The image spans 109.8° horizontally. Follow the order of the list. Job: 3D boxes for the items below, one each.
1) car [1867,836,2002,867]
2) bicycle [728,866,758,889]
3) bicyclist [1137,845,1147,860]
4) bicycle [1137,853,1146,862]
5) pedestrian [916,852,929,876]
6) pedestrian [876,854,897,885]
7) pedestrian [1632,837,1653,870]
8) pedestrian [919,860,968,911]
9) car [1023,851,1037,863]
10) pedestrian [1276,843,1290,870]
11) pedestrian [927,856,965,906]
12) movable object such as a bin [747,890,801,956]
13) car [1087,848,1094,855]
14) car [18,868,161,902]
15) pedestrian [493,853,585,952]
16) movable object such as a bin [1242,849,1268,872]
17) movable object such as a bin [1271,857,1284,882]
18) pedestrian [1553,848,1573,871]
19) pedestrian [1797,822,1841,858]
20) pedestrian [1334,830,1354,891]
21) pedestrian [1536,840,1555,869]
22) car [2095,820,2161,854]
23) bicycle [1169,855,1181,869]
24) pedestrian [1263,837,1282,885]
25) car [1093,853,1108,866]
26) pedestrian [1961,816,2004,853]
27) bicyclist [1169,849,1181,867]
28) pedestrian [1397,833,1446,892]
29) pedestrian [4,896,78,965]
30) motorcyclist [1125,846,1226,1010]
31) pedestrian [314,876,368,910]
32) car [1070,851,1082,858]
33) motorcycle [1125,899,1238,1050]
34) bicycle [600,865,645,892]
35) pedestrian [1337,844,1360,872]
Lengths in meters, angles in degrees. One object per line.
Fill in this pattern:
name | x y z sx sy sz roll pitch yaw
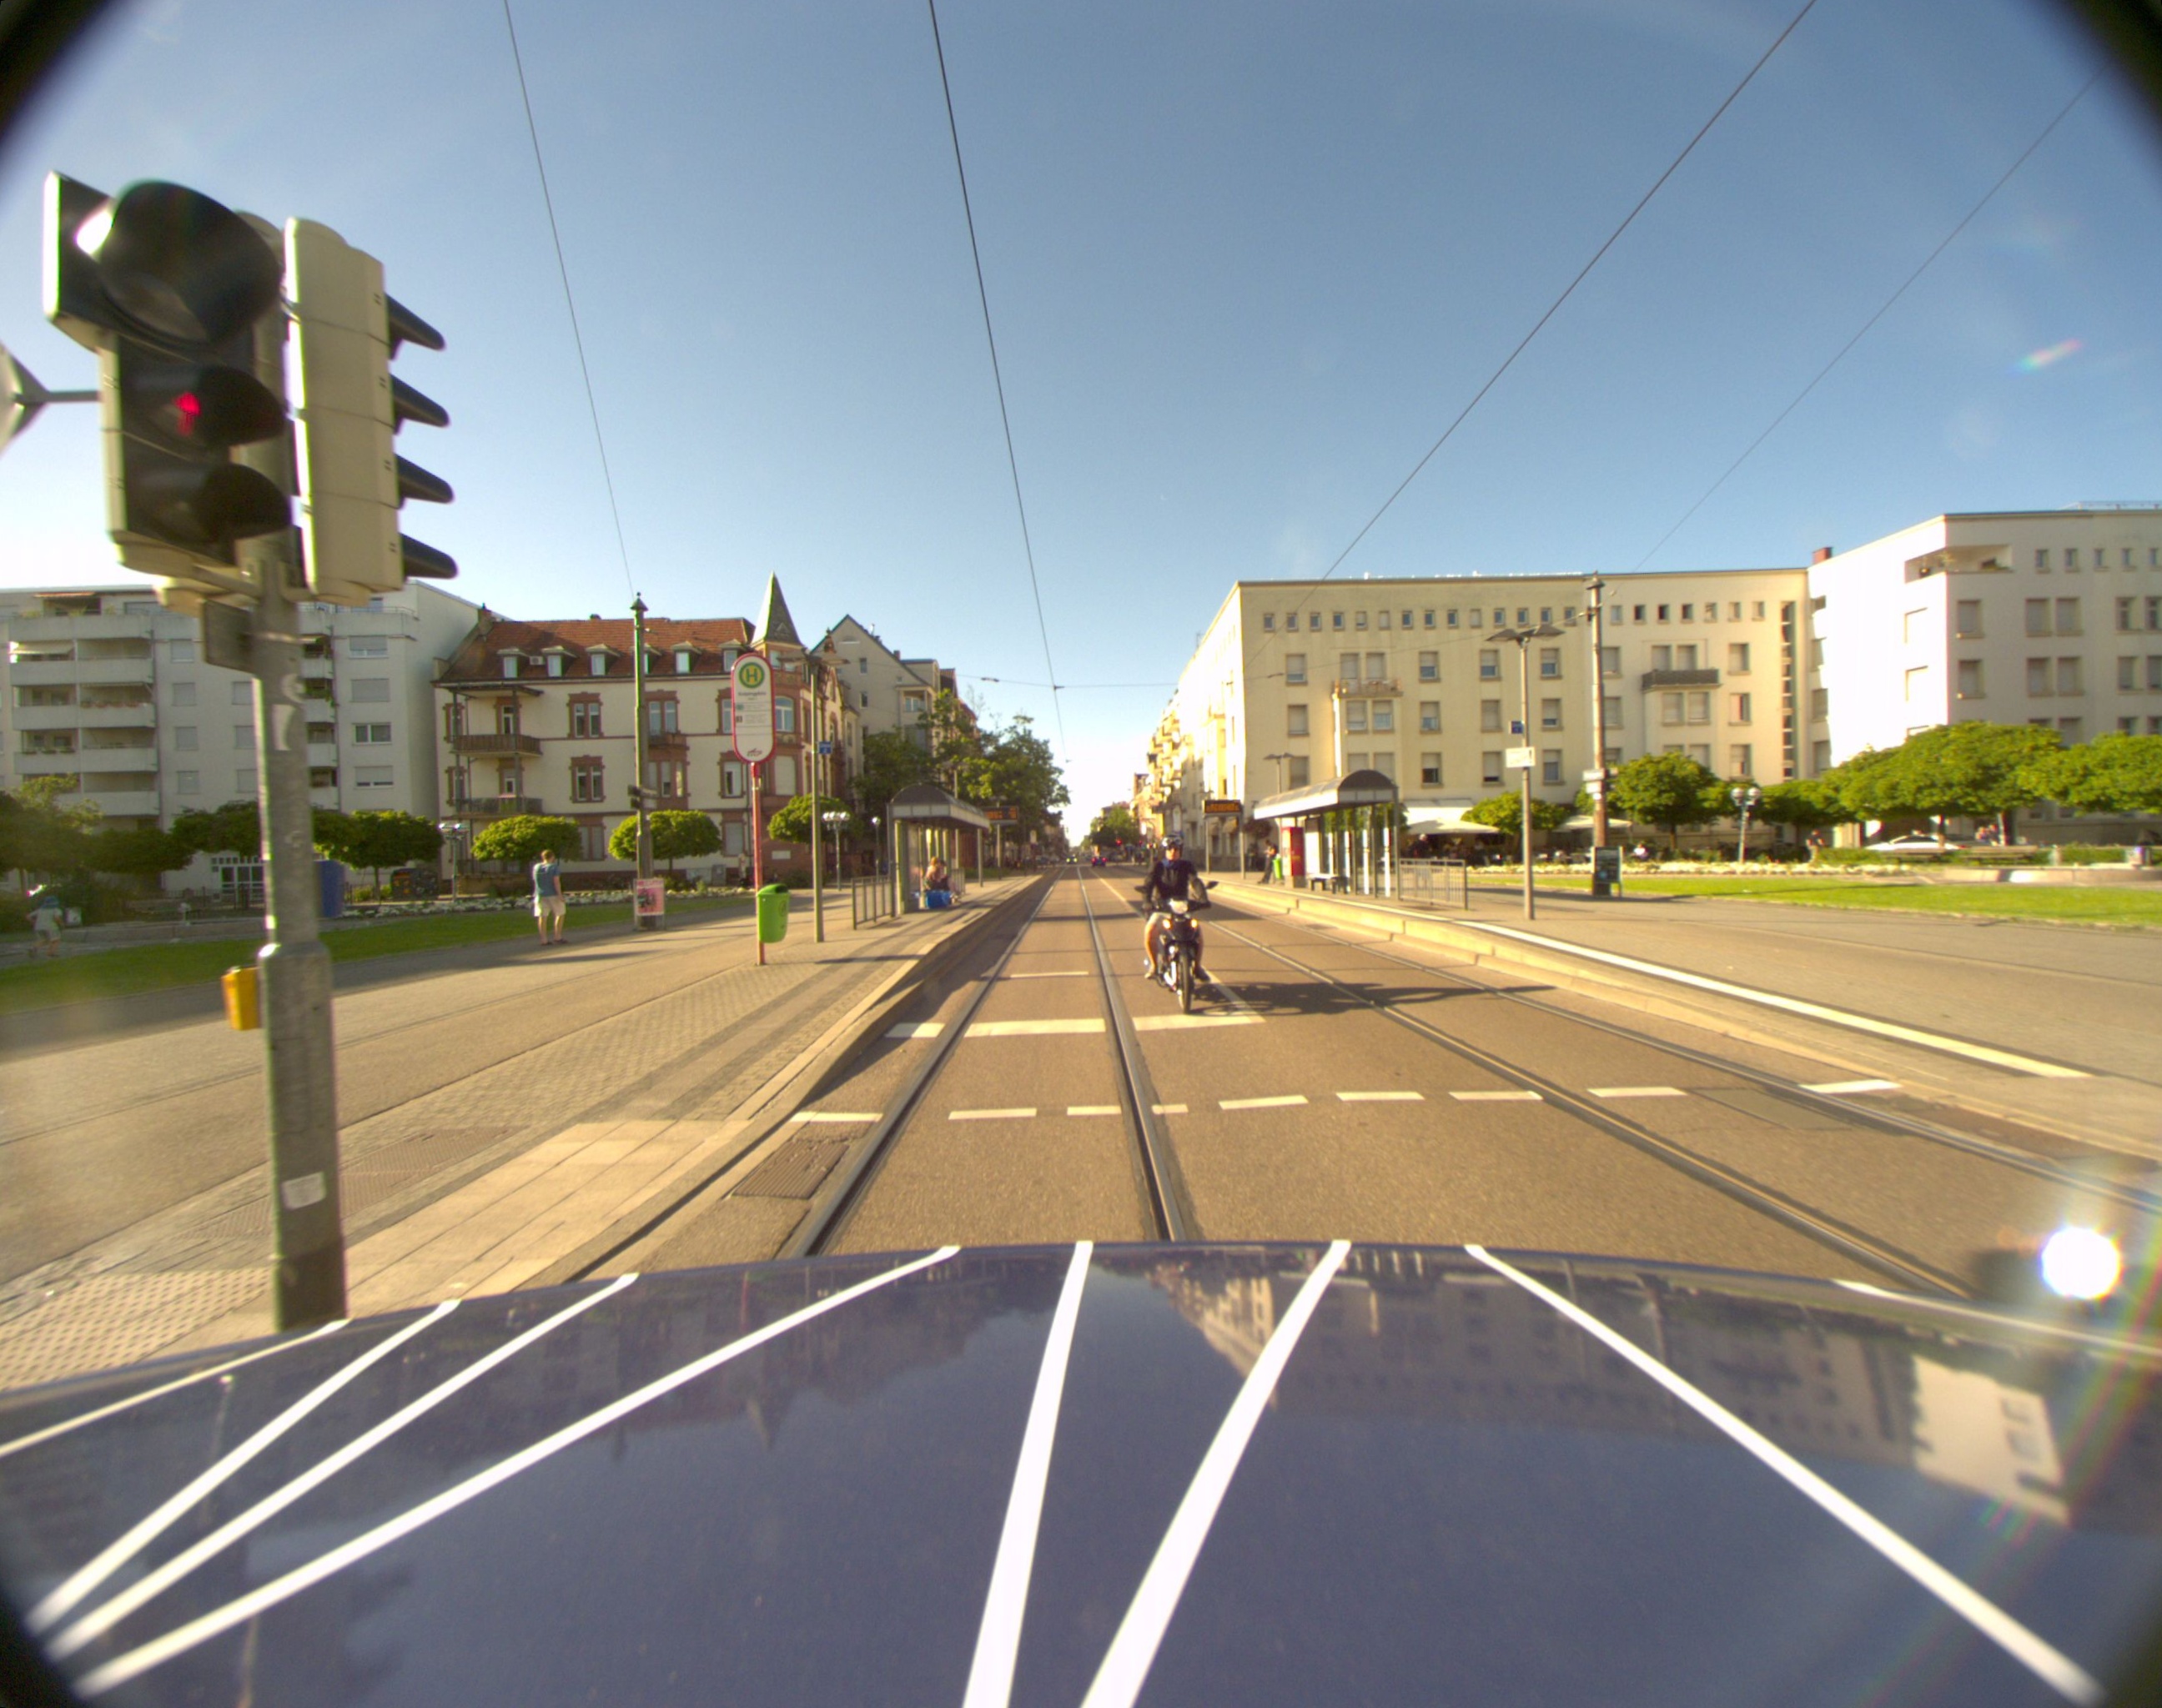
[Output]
car | 38.924 -0.103 34.797 1.998 1.293 3.715 -2 0 0
bicycle | -18.465 1.258 41.600 0.790 1.062 2.804 -2 2 -9
bicyclist | 7.295 -0.155 91.454 1.006 1.783 1.095 -2 1 -3
bicycle | 7.293 0.431 91.502 0.714 1.119 2.035 -2 0 -3
pedestrian | -11.542 0.719 55.307 0.742 1.725 0.877 -2 1 -7
pedestrian | -10.947 0.858 42.823 1.070 1.659 0.956 -2 1 -13
pedestrian | 30.043 -0.029 40.650 0.675 1.726 0.718 1 -3 -40
pedestrian | -3.597 0.806 19.974 1.001 1.218 0.923 -5 1 0
car | -8.904 0.489 132.879 1.998 2.002 4.001 -2 0 3
pedestrian | 12.443 0.186 46.795 0.672 1.634 0.752 -2 -2 27
pedestrian | -3.791 0.753 21.378 0.861 1.327 0.623 -5 1 0
movable object such as a bin | -3.891 0.867 9.646 0.450 0.781 0.489 -2 1 3
car | 2.905 -0.799 224.860 1.877 2.105 4.000 -2 1 2
car | -51.420 1.575 39.532 1.997 1.508 4.002 -2 0 7
pedestrian | -10.735 0.929 15.092 0.984 1.866 1.129 -2 0 -2
movable object such as a bin | 10.946 0.375 47.771 1.319 1.392 1.128 -2 1 -1
movable object such as a bin | 6.809 0.533 26.336 0.337 0.855 0.416 -2 1 3
pedestrian | 26.833 0.320 42.301 0.644 1.262 0.674 0 -2 -5
pedestrian | 37.281 -0.710 38.386 1.176 1.777 1.081 -2 1 -5
pedestrian | 8.116 0.202 23.452 0.429 1.848 0.526 1 1 3
pedestrian | 28.377 0.047 46.406 0.675 1.726 0.683 1 -2 -27
car | 47.438 -0.754 33.539 1.417 1.477 2.933 -2 0 0
bicycle | 7.715 0.630 62.479 0.730 1.107 1.977 -2 1 2
pedestrian | 6.867 0.254 27.234 0.550 1.708 0.607 0 1 2
car | 2.359 0.674 94.435 1.671 1.479 3.999 -3 0 -1
pedestrian | 50.979 -1.099 42.970 1.093 2.002 1.091 -2 1 -1
bicyclist | 7.706 0.340 62.571 0.829 1.447 0.877 -3 1 2
pedestrian | 10.004 0.249 22.377 0.995 1.670 0.974 -2 1 2
pedestrian | -18.621 1.359 13.613 0.470 1.162 0.558 -3 2 9
motorcyclist | 0.892 0.671 7.468 0.821 1.466 1.114 -2 1 0
pedestrian | -32.289 1.676 33.176 1.525 1.403 0.936 -2 1 11
car | -0.856 0.073 134.647 1.998 1.318 3.863 -2 0 0
motorcycle | 0.916 1.088 7.594 0.799 1.090 2.428 -2 0 0
bicycle | -26.009 1.364 43.134 0.746 1.364 2.914 -2 0 0
pedestrian | 15.837 0.238 44.998 1.066 1.634 0.757 0 -2 -5
